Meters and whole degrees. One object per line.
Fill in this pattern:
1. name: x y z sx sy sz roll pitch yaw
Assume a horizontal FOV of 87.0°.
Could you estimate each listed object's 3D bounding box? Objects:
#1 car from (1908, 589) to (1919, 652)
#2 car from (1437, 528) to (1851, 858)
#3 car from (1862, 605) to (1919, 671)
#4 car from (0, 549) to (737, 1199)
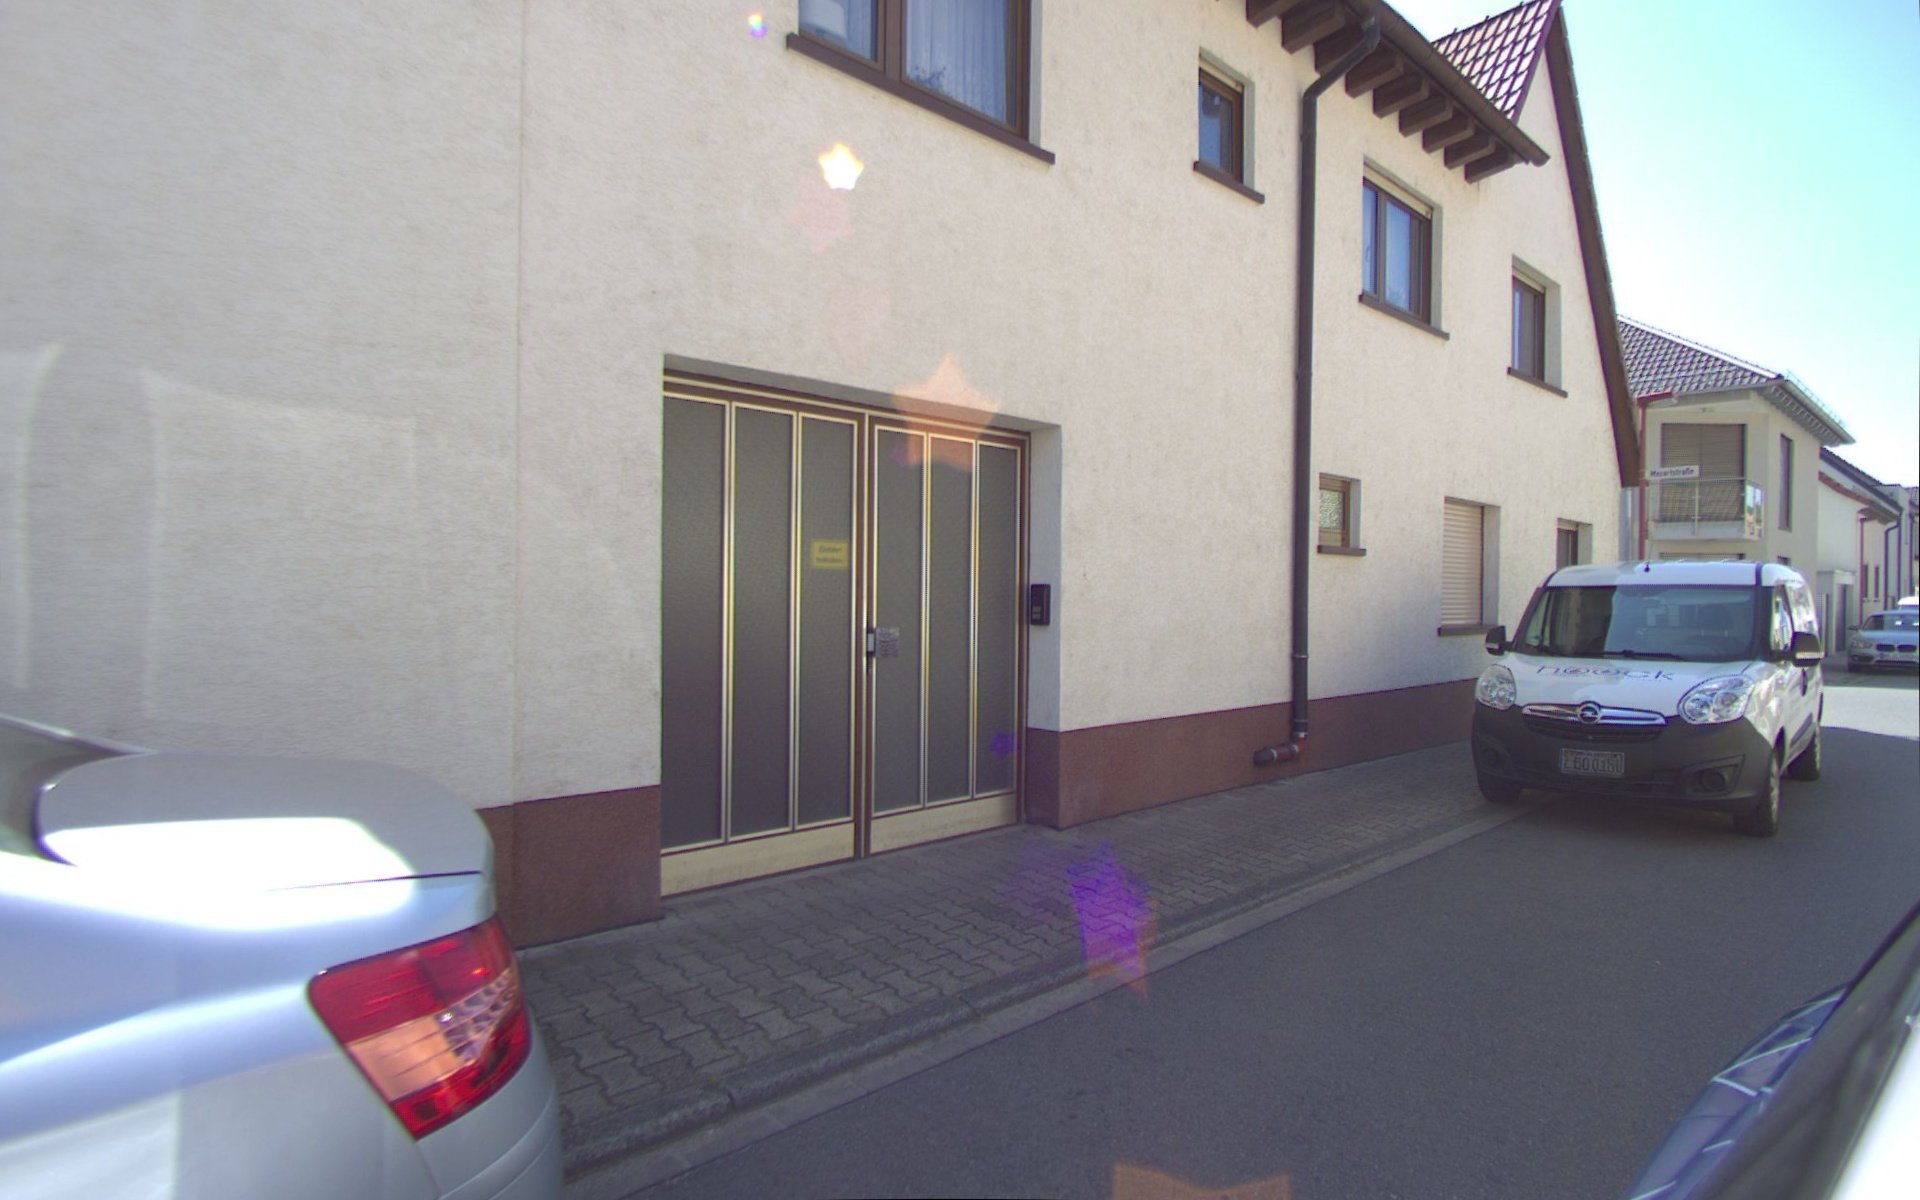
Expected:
1. car: 28.811 0.602 29.375 3.723 1.751 1.682 1 1 -44
2. car: 5.620 0.513 8.007 4.772 1.848 1.810 0 -1 -45
3. car: 21.965 0.825 23.117 3.861 1.386 1.635 0 0 -42
4. car: -2.715 0.691 0.485 4.850 1.499 1.794 0 3 -43
